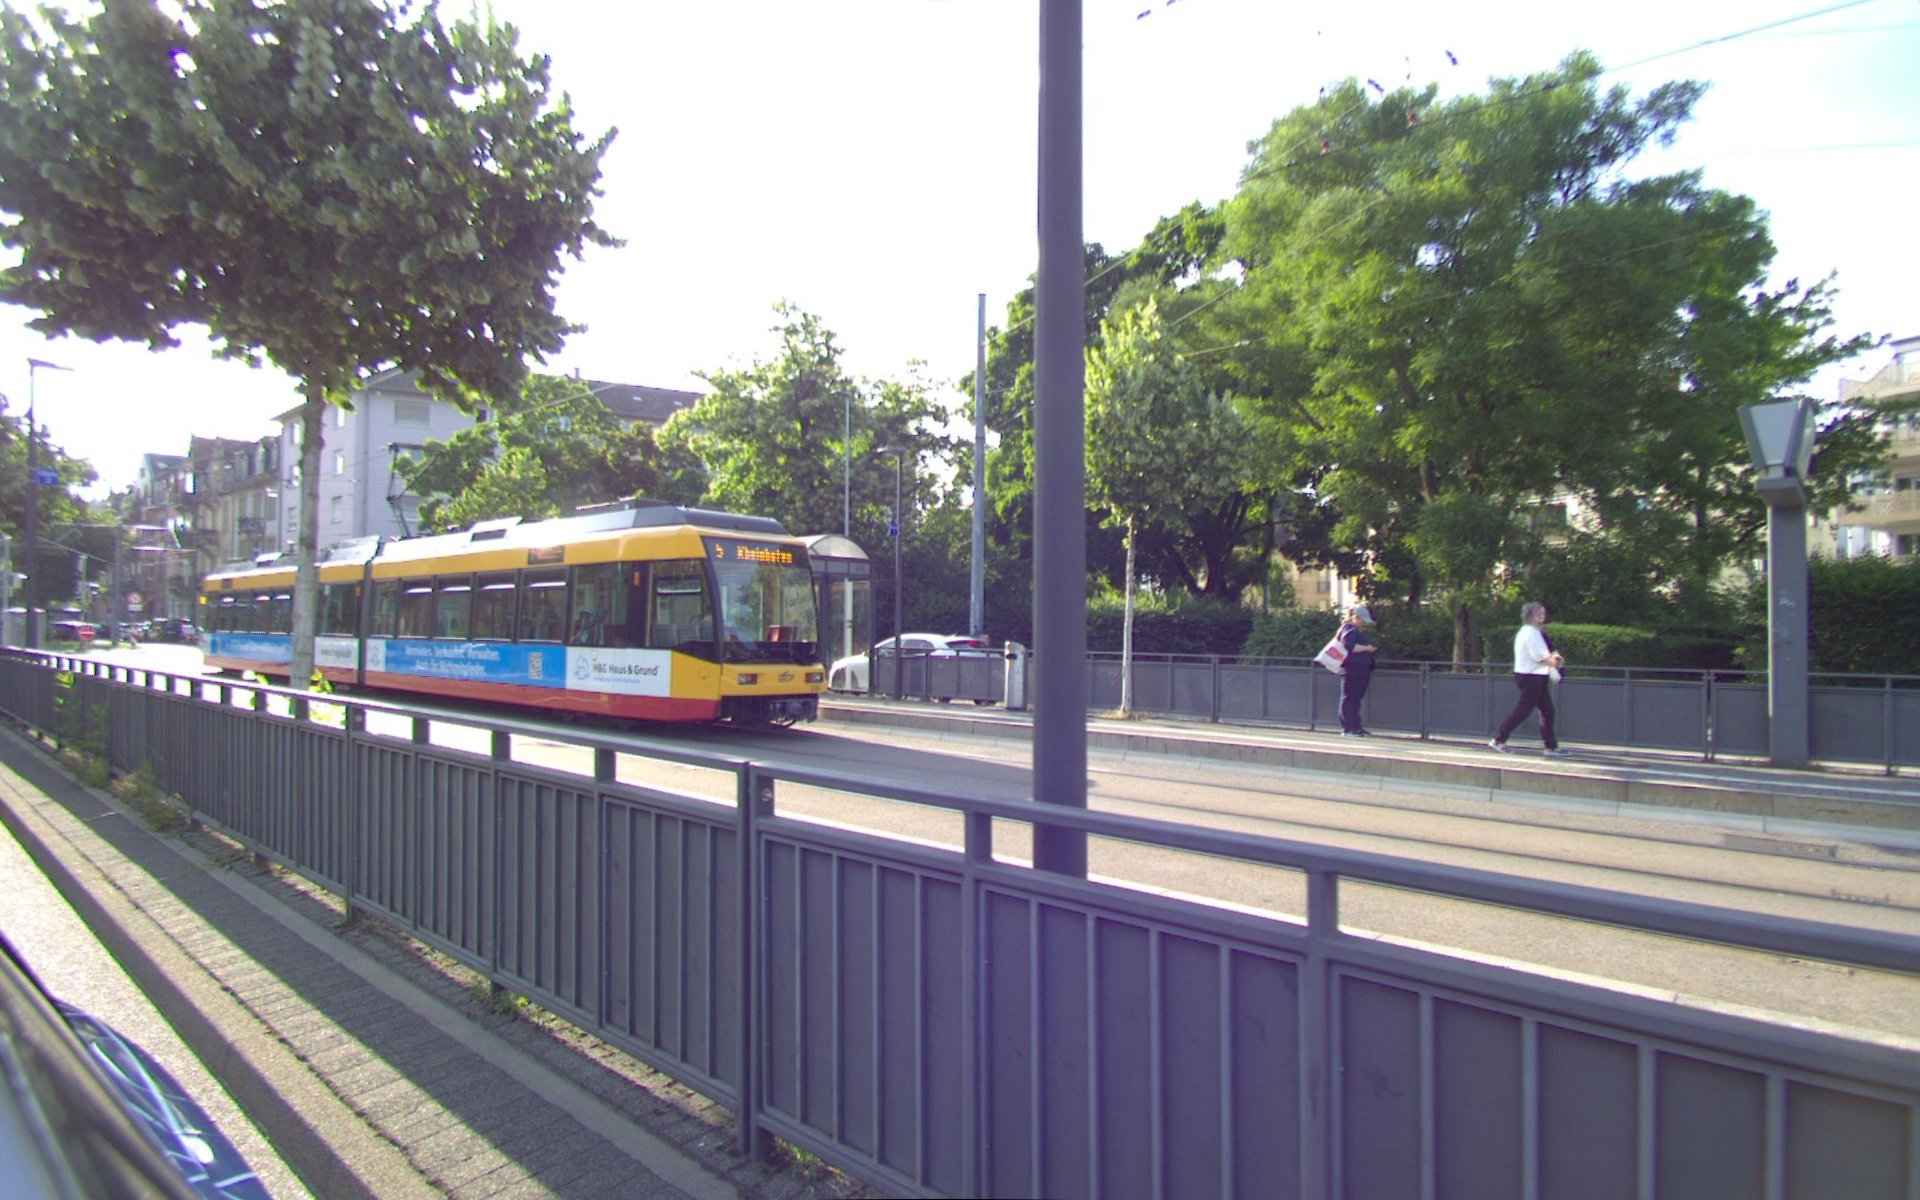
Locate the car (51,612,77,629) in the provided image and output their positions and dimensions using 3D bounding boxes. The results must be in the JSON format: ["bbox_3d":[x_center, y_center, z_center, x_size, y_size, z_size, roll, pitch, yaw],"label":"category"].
[{"bbox_3d":[-107.970,2.496,121.943,3.999,2.029,1.972,-2,-2,42],"label":"car"}]

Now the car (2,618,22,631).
[{"bbox_3d":[-148.655,3.801,158.670,3.998,2.029,1.973,-2,-2,41],"label":"car"}]

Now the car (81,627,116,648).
[{"bbox_3d":[-83.865,3.629,98.524,4.612,1.915,2.141,-2,-2,44],"label":"car"}]

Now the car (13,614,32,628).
[{"bbox_3d":[-139.027,3.068,150.087,1.970,2.029,4.002,1,-2,-45],"label":"car"}]

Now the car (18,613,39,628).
[{"bbox_3d":[-131.189,2.869,142.489,1.970,2.029,4.002,1,-2,-45],"label":"car"}]

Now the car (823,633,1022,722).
[{"bbox_3d":[-0.856,1.562,21.612,3.997,1.697,1.973,-2,-2,41],"label":"car"}]

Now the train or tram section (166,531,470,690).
[{"bbox_3d":[-18.482,0.409,28.298,14.523,3.506,3.129,-2,-2,41],"label":"train or tram section"}]

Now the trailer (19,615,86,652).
[{"bbox_3d":[-60.055,2.208,67.031,2.817,2.410,1.728,0,-2,-17],"label":"trailer"}]

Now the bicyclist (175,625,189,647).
[{"bbox_3d":[-50.421,2.339,65.572,0.717,1.424,0.643,-2,-2,44],"label":"bicyclist"}]

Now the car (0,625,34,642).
[{"bbox_3d":[-84.191,2.914,88.536,4.205,1.433,2.175,0,-1,-7],"label":"car"}]

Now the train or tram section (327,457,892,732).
[{"bbox_3d":[-7.501,0.097,18.805,14.463,3.506,3.129,-2,-2,41],"label":"train or tram section"}]

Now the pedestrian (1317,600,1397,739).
[{"bbox_3d":[4.926,0.842,12.540,0.860,1.654,0.660,-1,-2,25],"label":"pedestrian"}]

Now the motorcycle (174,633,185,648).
[{"bbox_3d":[-56.646,2.955,73.441,0.627,1.088,1.737,1,-2,-39],"label":"motorcycle"}]

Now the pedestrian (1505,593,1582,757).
[{"bbox_3d":[6.124,0.774,10.617,0.606,1.654,0.576,-2,-4,37],"label":"pedestrian"}]

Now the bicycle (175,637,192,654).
[{"bbox_3d":[-50.194,2.937,65.414,0.535,1.026,2.251,1,-2,-45],"label":"bicycle"}]

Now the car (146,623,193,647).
[{"bbox_3d":[-59.485,2.629,76.134,4.719,1.763,2.141,-2,-2,44],"label":"car"}]

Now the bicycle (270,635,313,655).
[{"bbox_3d":[-37.515,2.523,56.783,0.735,1.119,1.890,-1,-3,42],"label":"bicycle"}]

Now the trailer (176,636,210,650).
[{"bbox_3d":[-54.457,3.044,71.843,2.880,0.903,1.425,-2,1,44],"label":"trailer"}]

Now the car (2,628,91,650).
[{"bbox_3d":[-58.261,2.499,64.607,3.889,1.370,1.676,1,-2,-10],"label":"car"}]

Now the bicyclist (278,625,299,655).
[{"bbox_3d":[-37.625,2.218,56.694,0.794,1.655,0.762,-2,-3,42],"label":"bicyclist"}]
